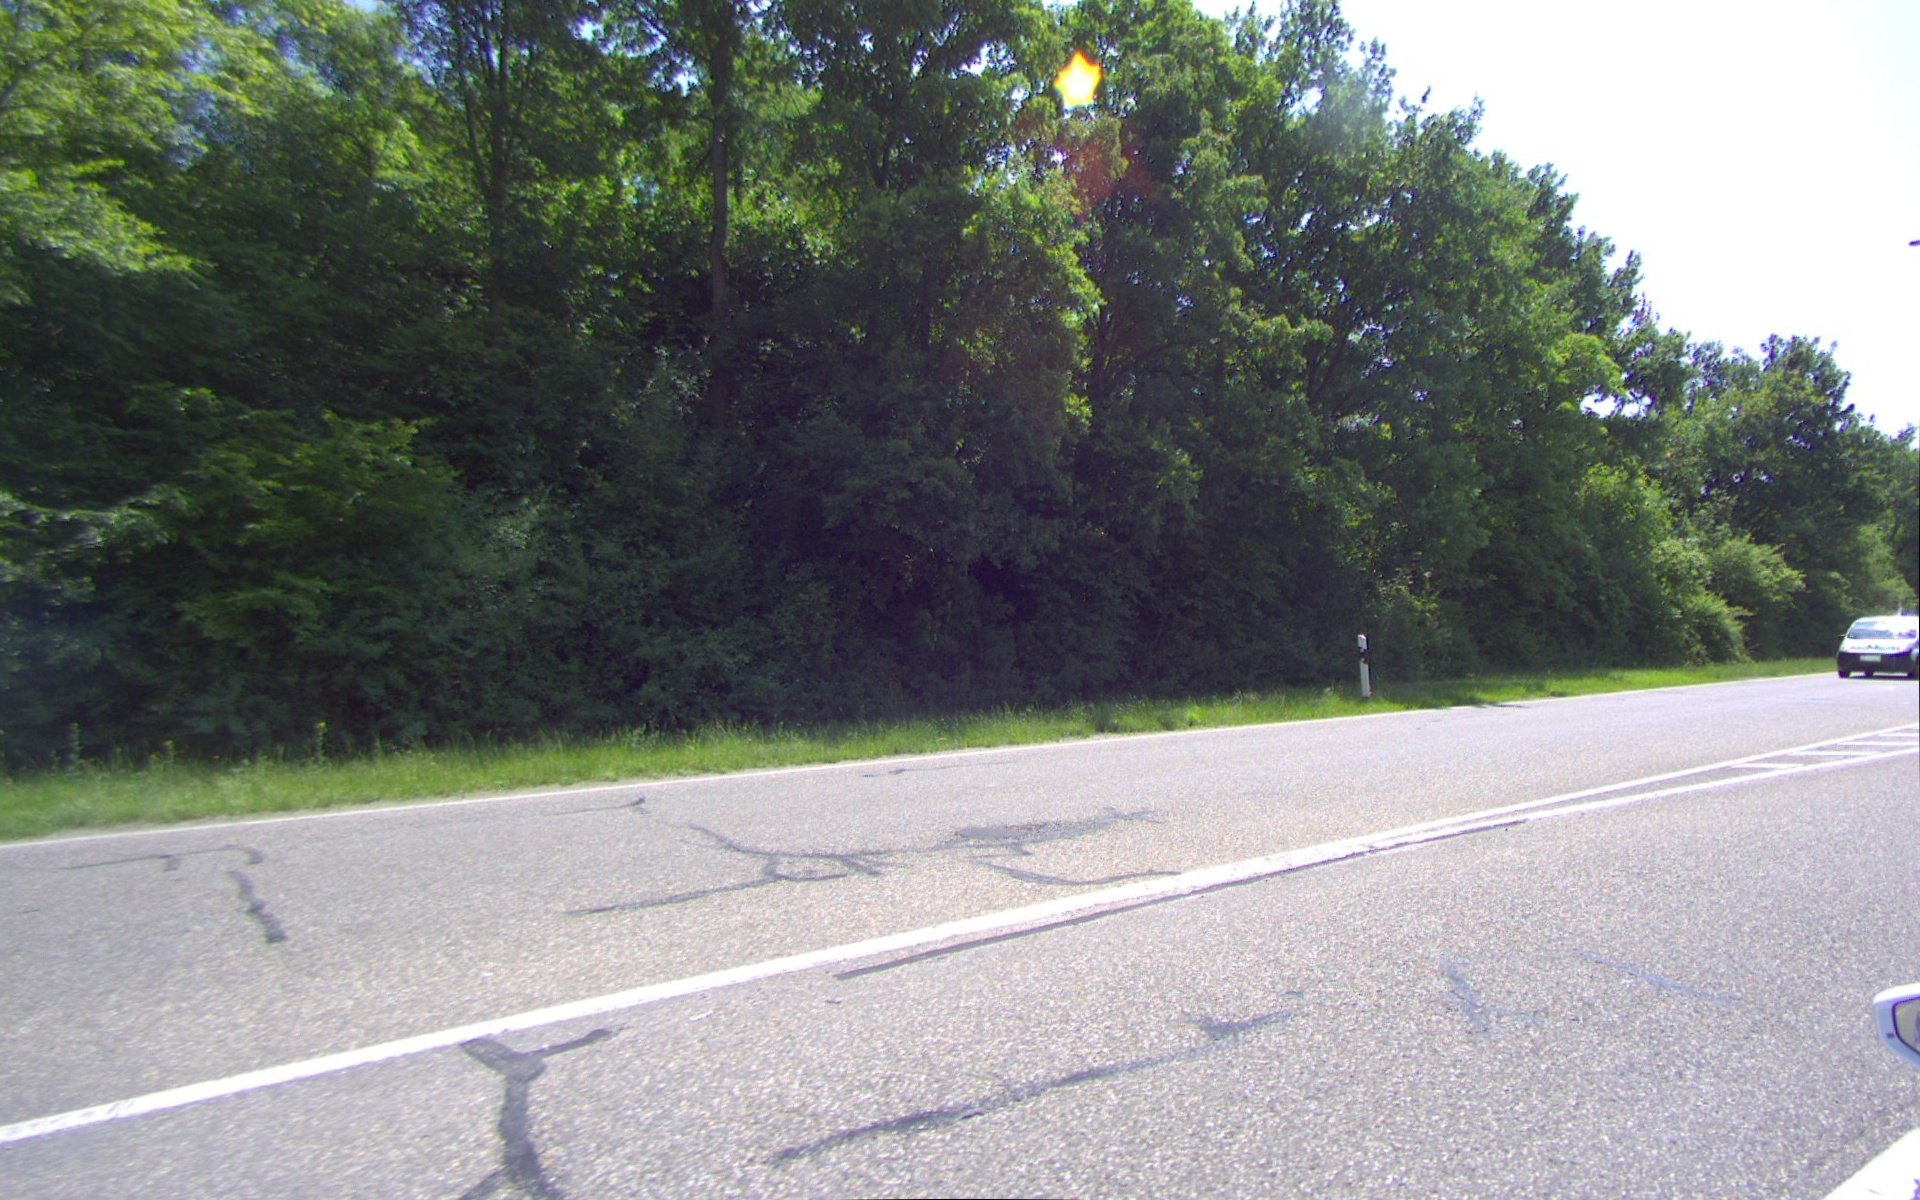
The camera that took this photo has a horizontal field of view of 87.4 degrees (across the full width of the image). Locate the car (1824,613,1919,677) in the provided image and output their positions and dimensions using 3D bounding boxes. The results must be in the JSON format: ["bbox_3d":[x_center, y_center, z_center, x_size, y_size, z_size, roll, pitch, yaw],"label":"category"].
[{"bbox_3d":[26.278,1.244,28.558,4.056,1.710,1.720,1,-2,-36],"label":"car"}]
